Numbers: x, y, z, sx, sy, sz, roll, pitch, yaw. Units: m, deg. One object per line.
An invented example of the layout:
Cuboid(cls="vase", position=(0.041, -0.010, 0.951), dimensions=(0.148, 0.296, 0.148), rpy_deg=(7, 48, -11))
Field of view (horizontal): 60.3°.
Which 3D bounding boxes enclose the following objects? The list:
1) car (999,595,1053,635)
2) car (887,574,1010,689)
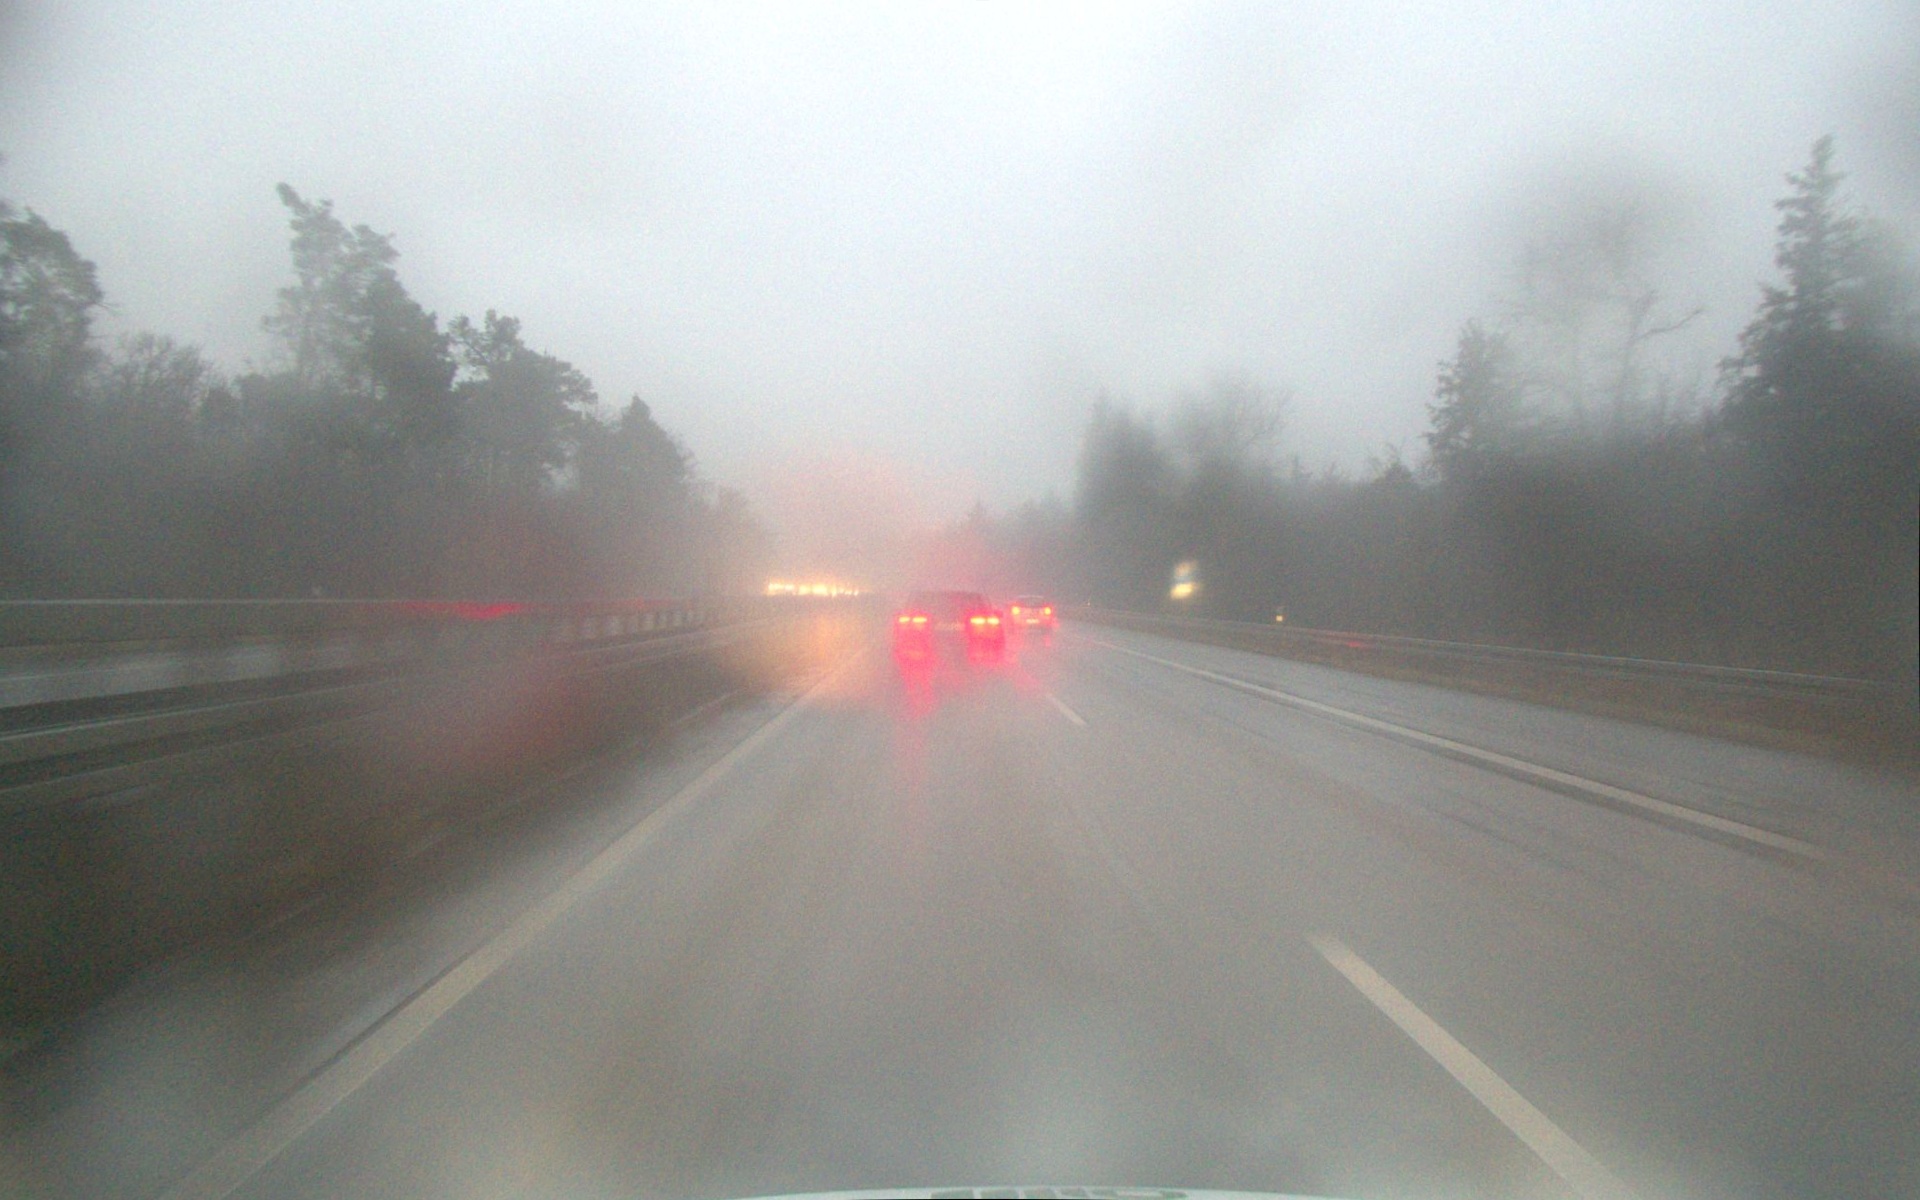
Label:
Cuboid(cls="car", position=(2.518, 0.574, 63.974), dimensions=(1.745, 1.462, 3.535), rpy_deg=(1, 0, -3))
Cuboid(cls="car", position=(-0.230, 0.496, 28.482), dimensions=(1.946, 1.798, 4.172), rpy_deg=(1, 0, -1))
